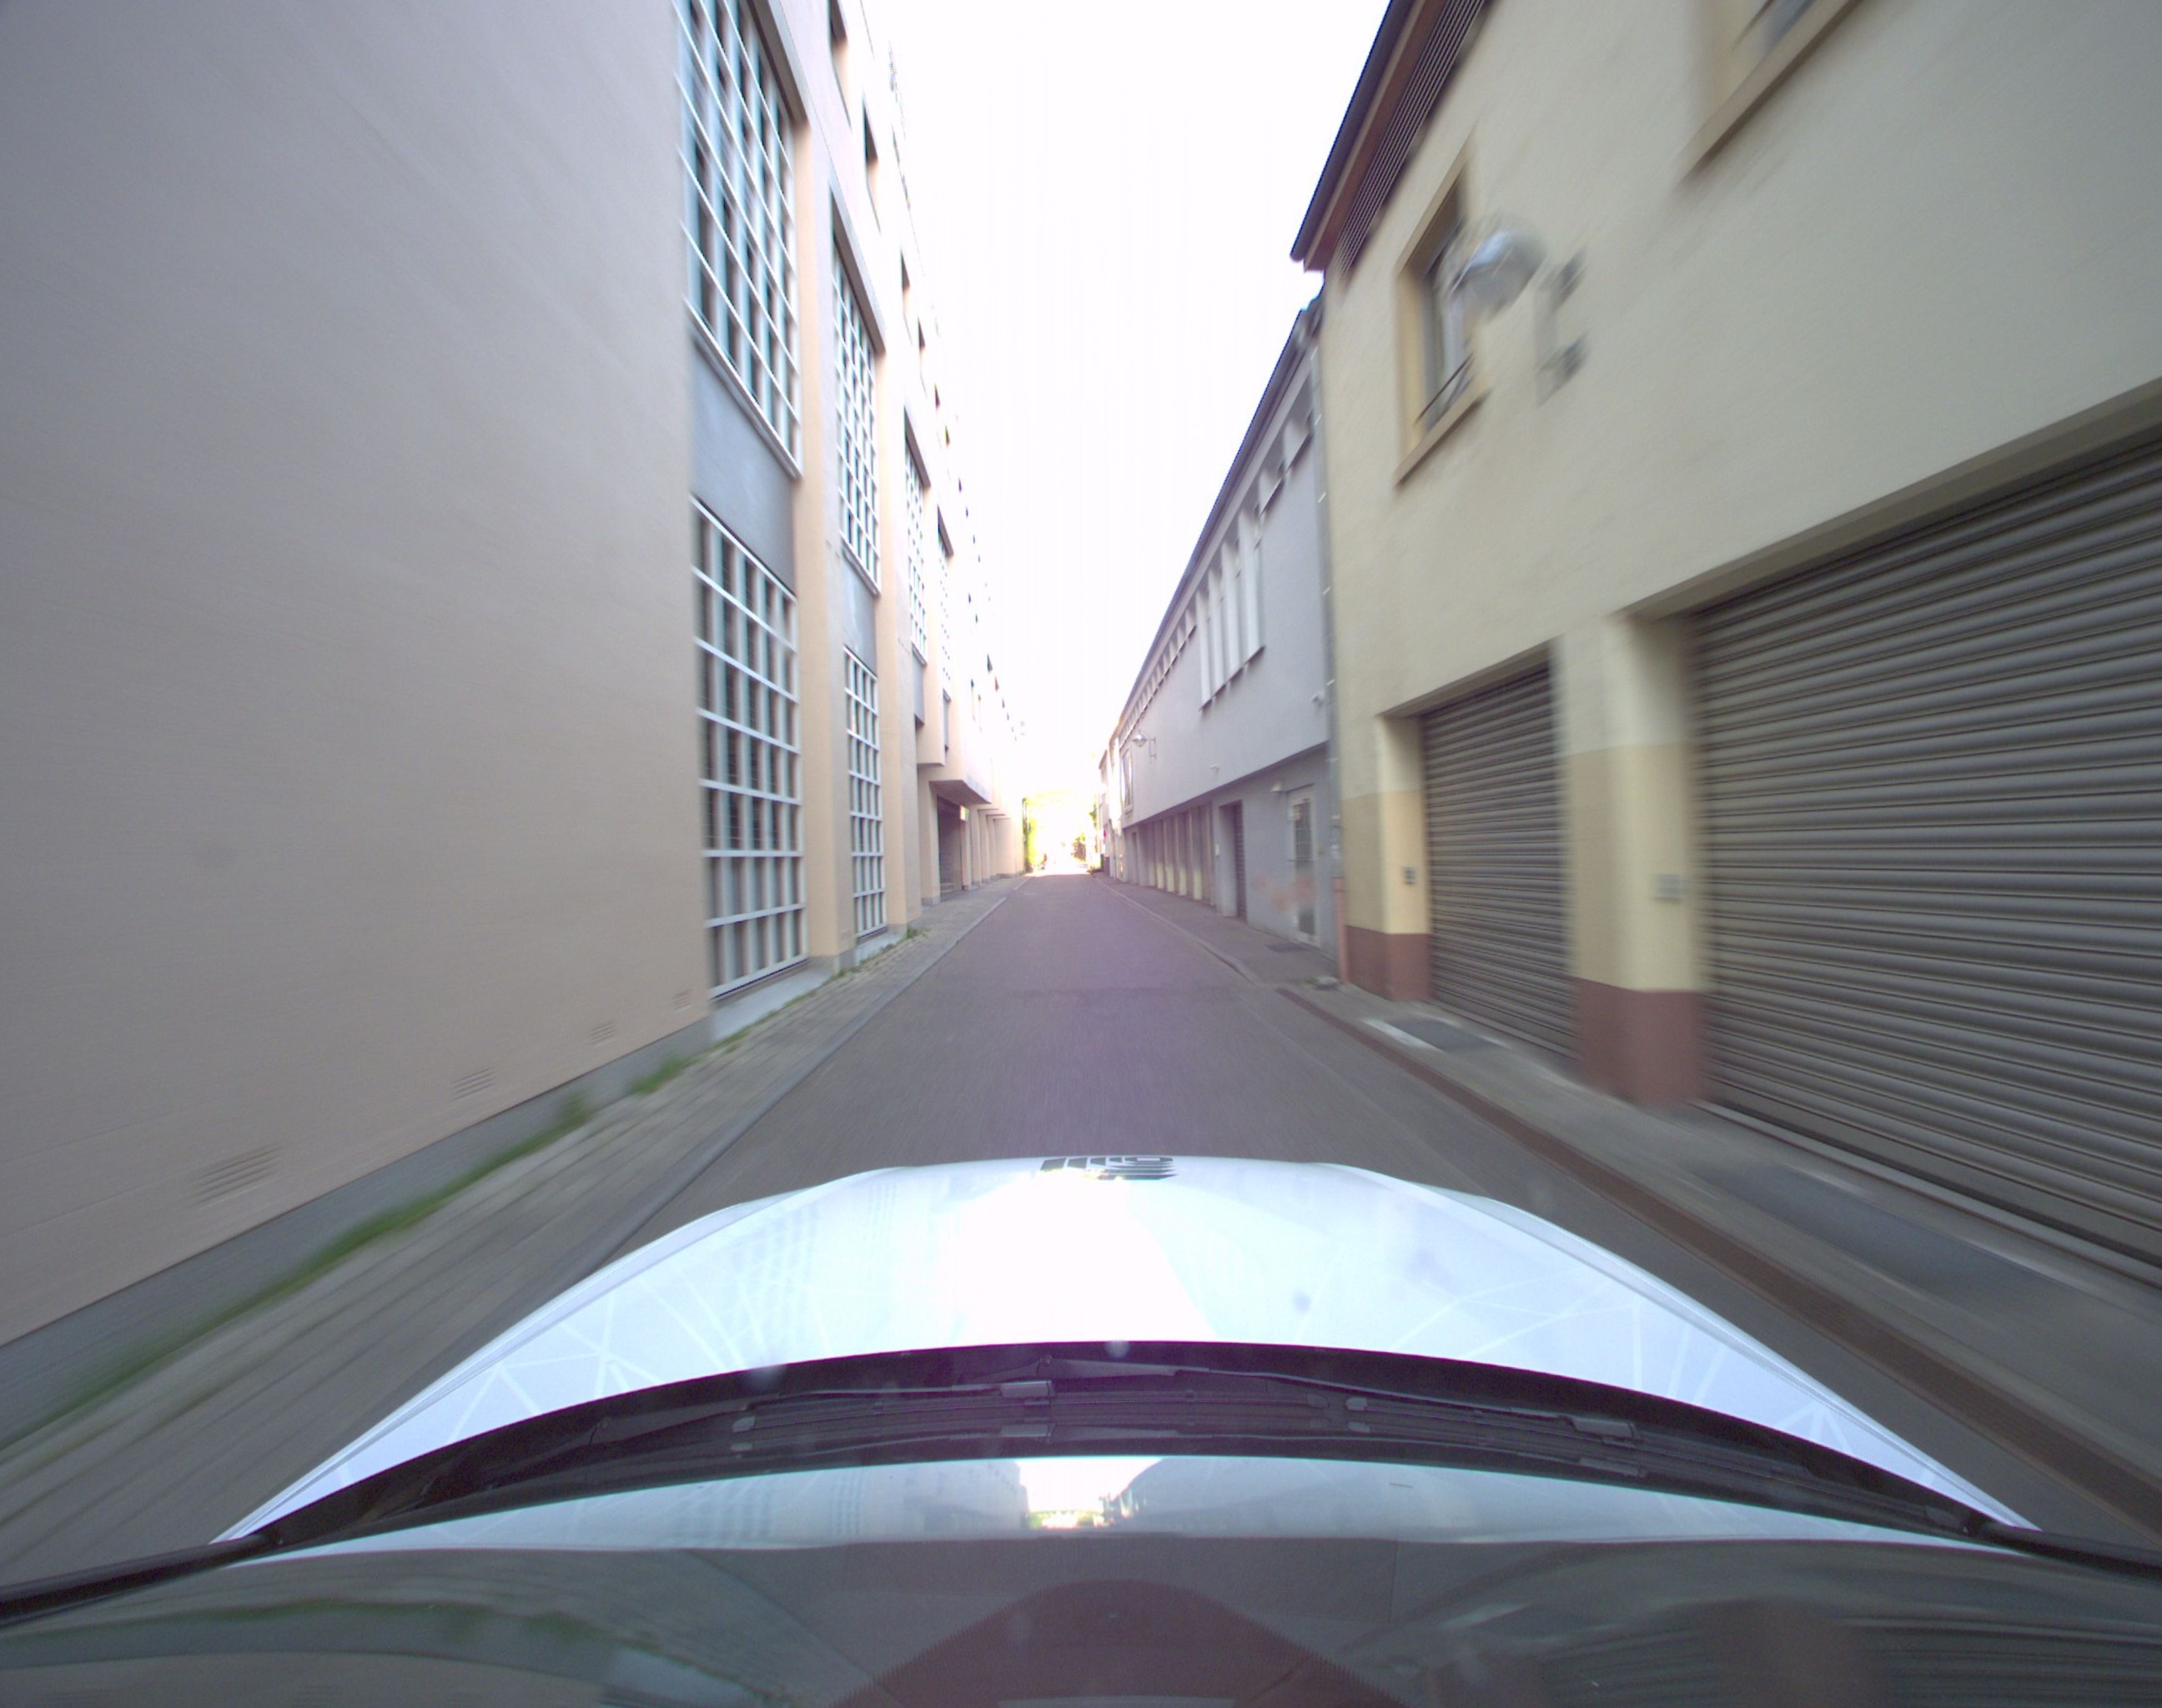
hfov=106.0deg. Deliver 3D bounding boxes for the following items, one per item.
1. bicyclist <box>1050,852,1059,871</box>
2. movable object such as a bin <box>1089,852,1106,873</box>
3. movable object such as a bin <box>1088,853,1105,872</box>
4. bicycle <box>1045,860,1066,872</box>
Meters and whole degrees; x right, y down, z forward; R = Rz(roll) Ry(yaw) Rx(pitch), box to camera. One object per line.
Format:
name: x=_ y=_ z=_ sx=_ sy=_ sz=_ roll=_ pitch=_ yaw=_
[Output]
bicyclist: x=-2.573 y=0.711 z=78.559 sx=0.878 sy=1.785 sz=0.735 roll=0 pitch=0 yaw=-5
movable object such as a bin: x=1.165 y=0.606 z=58.410 sx=0.936 sy=1.366 sz=1.338 roll=-4 pitch=0 yaw=-7
movable object such as a bin: x=1.165 y=0.617 z=59.815 sx=1.062 sy=1.366 sz=1.340 roll=-4 pitch=0 yaw=-4
bicycle: x=-2.502 y=1.183 z=78.581 sx=1.981 sy=1.112 sz=0.734 roll=-1 pitch=0 yaw=-5
